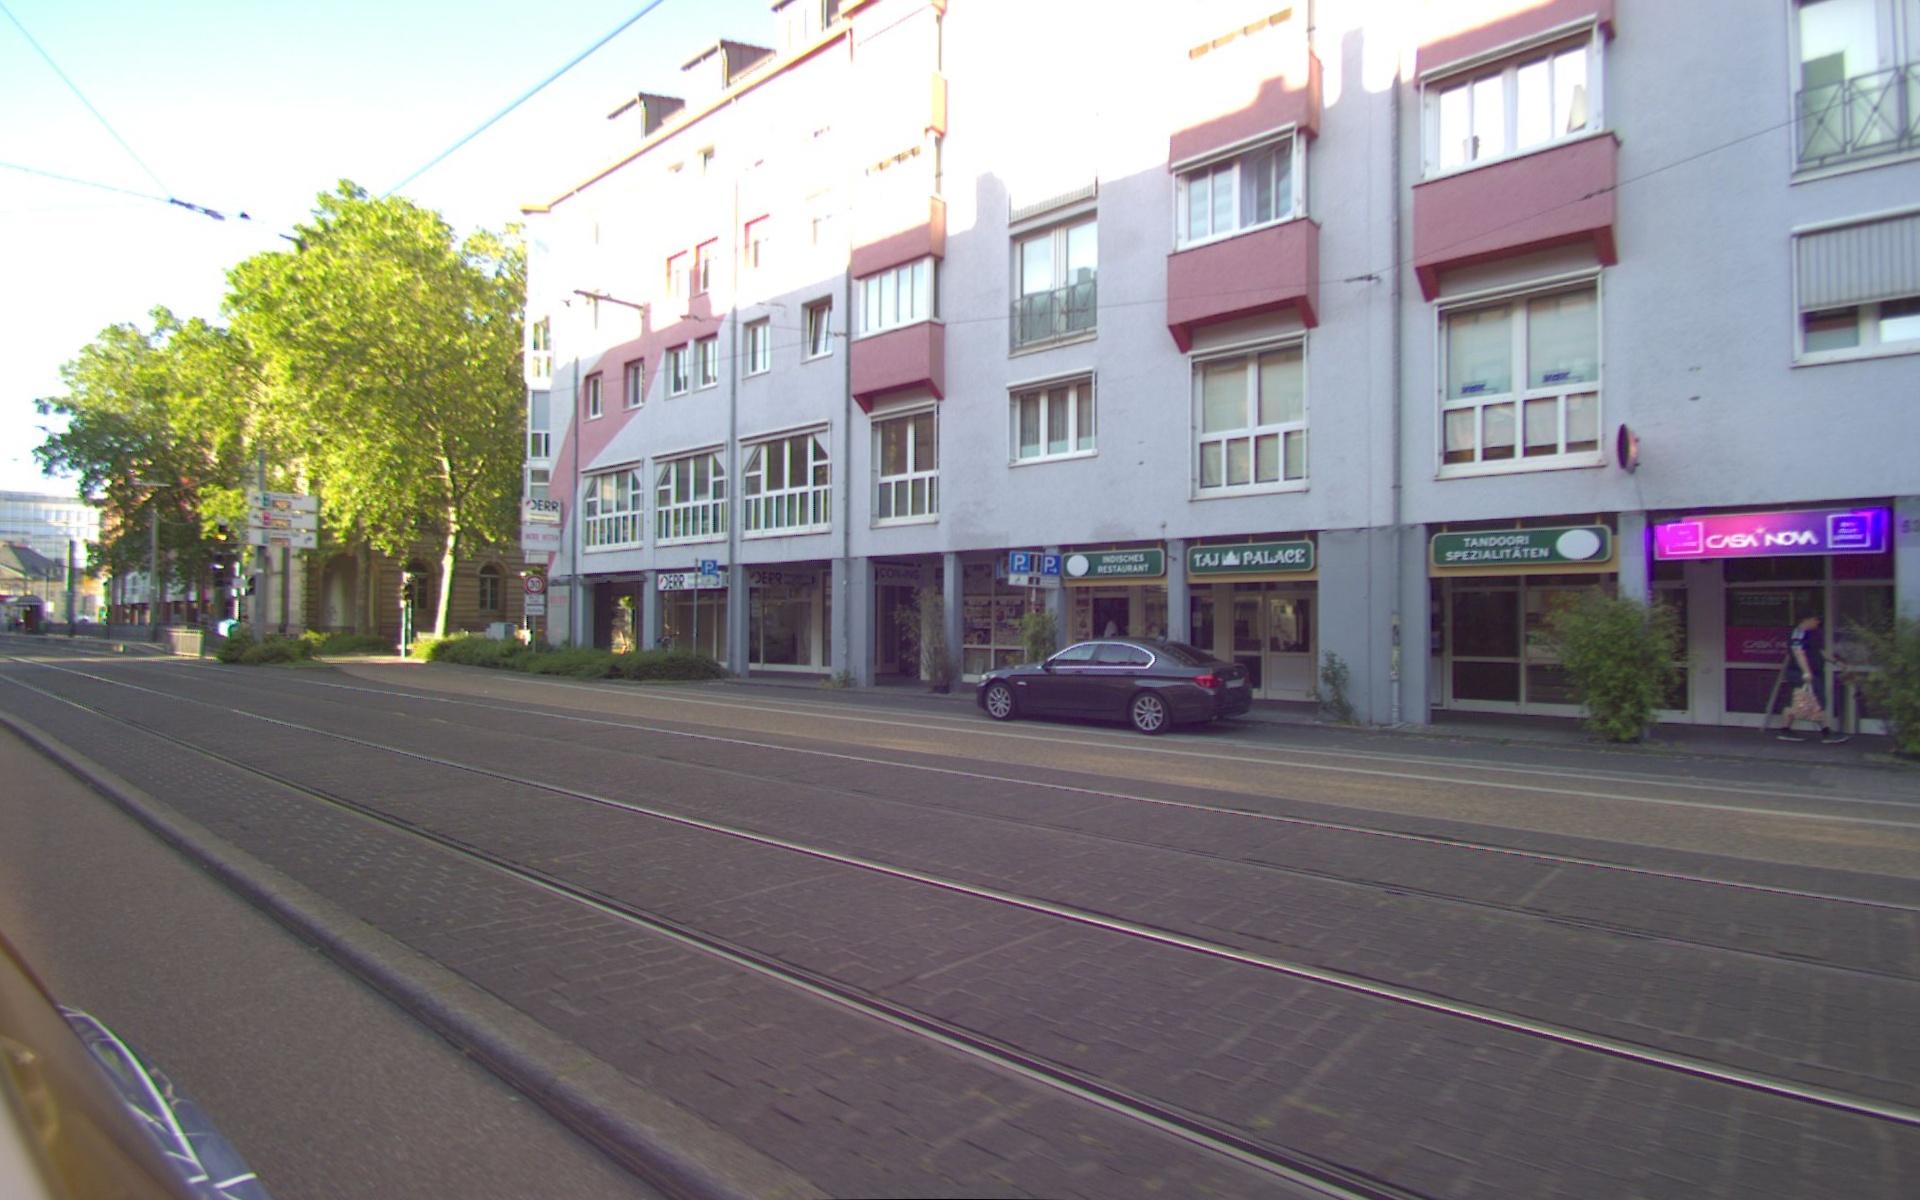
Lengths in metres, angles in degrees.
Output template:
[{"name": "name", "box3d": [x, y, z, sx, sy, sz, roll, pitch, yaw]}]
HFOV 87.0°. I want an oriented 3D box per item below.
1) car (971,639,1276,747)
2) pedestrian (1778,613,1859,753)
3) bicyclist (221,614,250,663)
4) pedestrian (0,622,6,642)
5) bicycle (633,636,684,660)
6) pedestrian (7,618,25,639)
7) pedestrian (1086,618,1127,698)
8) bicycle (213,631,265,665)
[{"name": "car", "box3d": [2.585, 1.417, 16.728, 4.702, 1.450, 1.851, -1, -1, 40]}, {"name": "pedestrian", "box3d": [11.010, 1.038, 13.004, 0.745, 1.725, 0.607, -2, -2, 40]}, {"name": "bicyclist", "box3d": [-26.031, 1.379, 36.363, 0.526, 1.725, 0.746, 0, -2, -4]}, {"name": "pedestrian", "box3d": [-86.505, 2.865, 91.061, 0.847, 1.780, 0.813, -2, 0, -40]}, {"name": "bicycle", "box3d": [-9.018, 1.422, 30.251, 1.807, 0.663, 0.451, -1, 0, 37]}, {"name": "pedestrian", "box3d": [-74.552, 2.249, 79.903, 0.967, 1.674, 0.901, -1, -2, 41]}, {"name": "pedestrian", "box3d": [3.230, 1.265, 22.351, 0.615, 1.725, 0.736, -1, -2, 38]}, {"name": "bicycle", "box3d": [-26.024, 1.713, 36.550, 0.576, 1.086, 1.900, -1, 0, -2]}]
